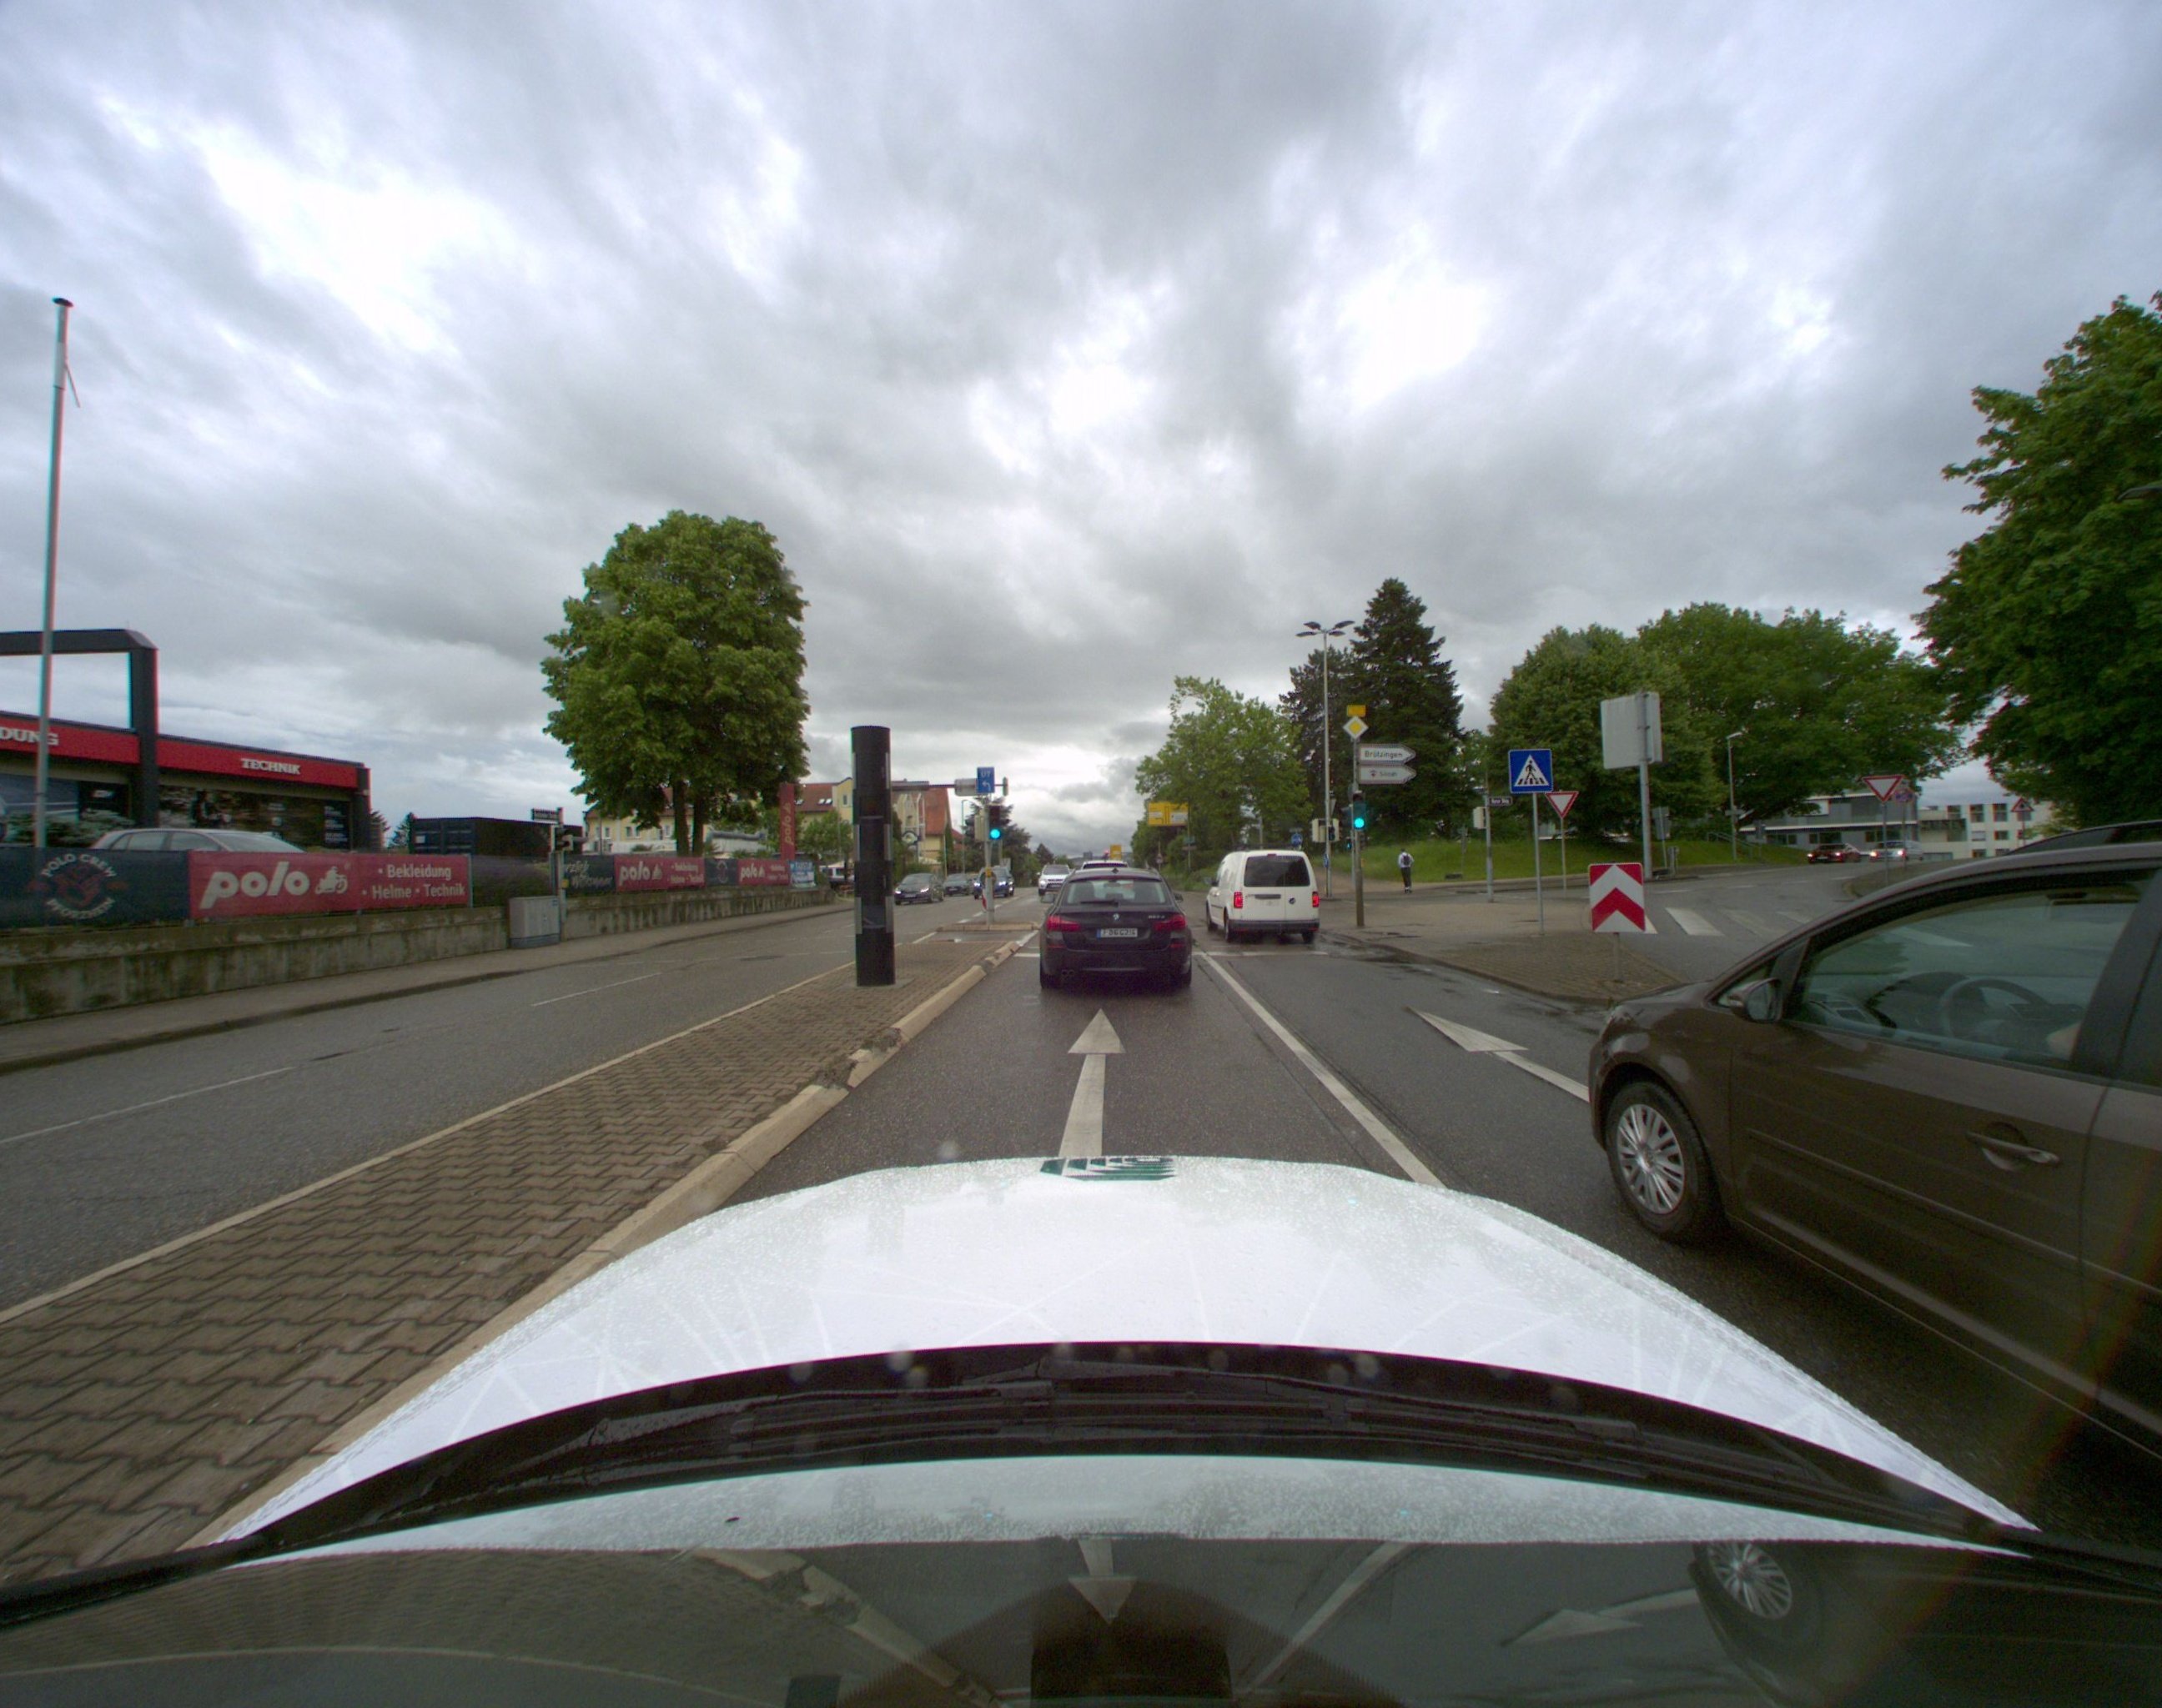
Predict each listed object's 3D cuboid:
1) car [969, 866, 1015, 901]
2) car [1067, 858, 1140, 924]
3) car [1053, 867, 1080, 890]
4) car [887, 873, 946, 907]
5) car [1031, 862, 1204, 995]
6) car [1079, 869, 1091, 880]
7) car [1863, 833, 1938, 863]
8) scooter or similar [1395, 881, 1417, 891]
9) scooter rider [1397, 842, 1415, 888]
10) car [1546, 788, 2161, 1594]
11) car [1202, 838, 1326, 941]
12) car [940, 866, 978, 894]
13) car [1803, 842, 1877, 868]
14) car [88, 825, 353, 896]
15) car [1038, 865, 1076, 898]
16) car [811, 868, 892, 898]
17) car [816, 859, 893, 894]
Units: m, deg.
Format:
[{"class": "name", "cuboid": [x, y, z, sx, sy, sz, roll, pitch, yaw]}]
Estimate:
[{"class": "car", "cuboid": [-4.686, 1.527, 43.371, 1.833, 1.649, 4.297, -3, -1, 1]}, {"class": "car", "cuboid": [0.650, 0.967, 23.025, 1.861, 1.673, 4.002, -1, 0, 2]}, {"class": "car", "cuboid": [-0.938, 1.641, 54.360, 1.626, 1.434, 4.144, -1, -2, 1]}, {"class": "car", "cuboid": [-7.938, 1.712, 39.727, 1.910, 1.379, 4.125, -3, -1, 1]}, {"class": "car", "cuboid": [0.474, 0.878, 10.958, 1.891, 1.442, 4.001, -1, -2, 2]}, {"class": "car", "cuboid": [0.665, 3.441, 135.971, 1.861, 1.673, 4.002, -1, 0, 2]}, {"class": "car", "cuboid": [59.311, -0.443, 58.978, 3.989, 1.859, 1.845, -3, -2, -11]}, {"class": "scooter or similar", "cuboid": [14.196, 1.402, 35.582, 0.485, 0.403, 1.256, -2, 0, 1]}, {"class": "scooter rider", "cuboid": [14.188, 0.489, 35.546, 0.499, 1.965, 0.548, -2, 0, 1]}, {"class": "car", "cuboid": [3.033, 0.669, 1.887, 1.740, 1.609, 3.982, -1, -1, 2]}, {"class": "car", "cuboid": [3.639, 0.657, 16.849, 1.758, 1.877, 3.806, -1, 0, 1]}, {"class": "car", "cuboid": [-7.866, 1.637, 52.703, 1.670, 1.618, 4.001, -3, 0, 1]}, {"class": "car", "cuboid": [49.805, 0.093, 53.467, 3.999, 1.428, 1.841, -3, -2, -19]}, {"class": "car", "cuboid": [-16.115, 0.111, 15.368, 3.376, 1.167, 1.453, -2, 0, -1]}, {"class": "car", "cuboid": [-1.252, 1.453, 44.717, 1.833, 1.649, 4.297, -2, -1, 1]}, {"class": "car", "cuboid": [-15.730, 1.974, 55.955, 5.024, 1.702, 1.982, -3, -3, -27]}, {"class": "car", "cuboid": [-14.678, 1.460, 52.816, 4.410, 2.013, 1.982, -3, -1, -27]}]
